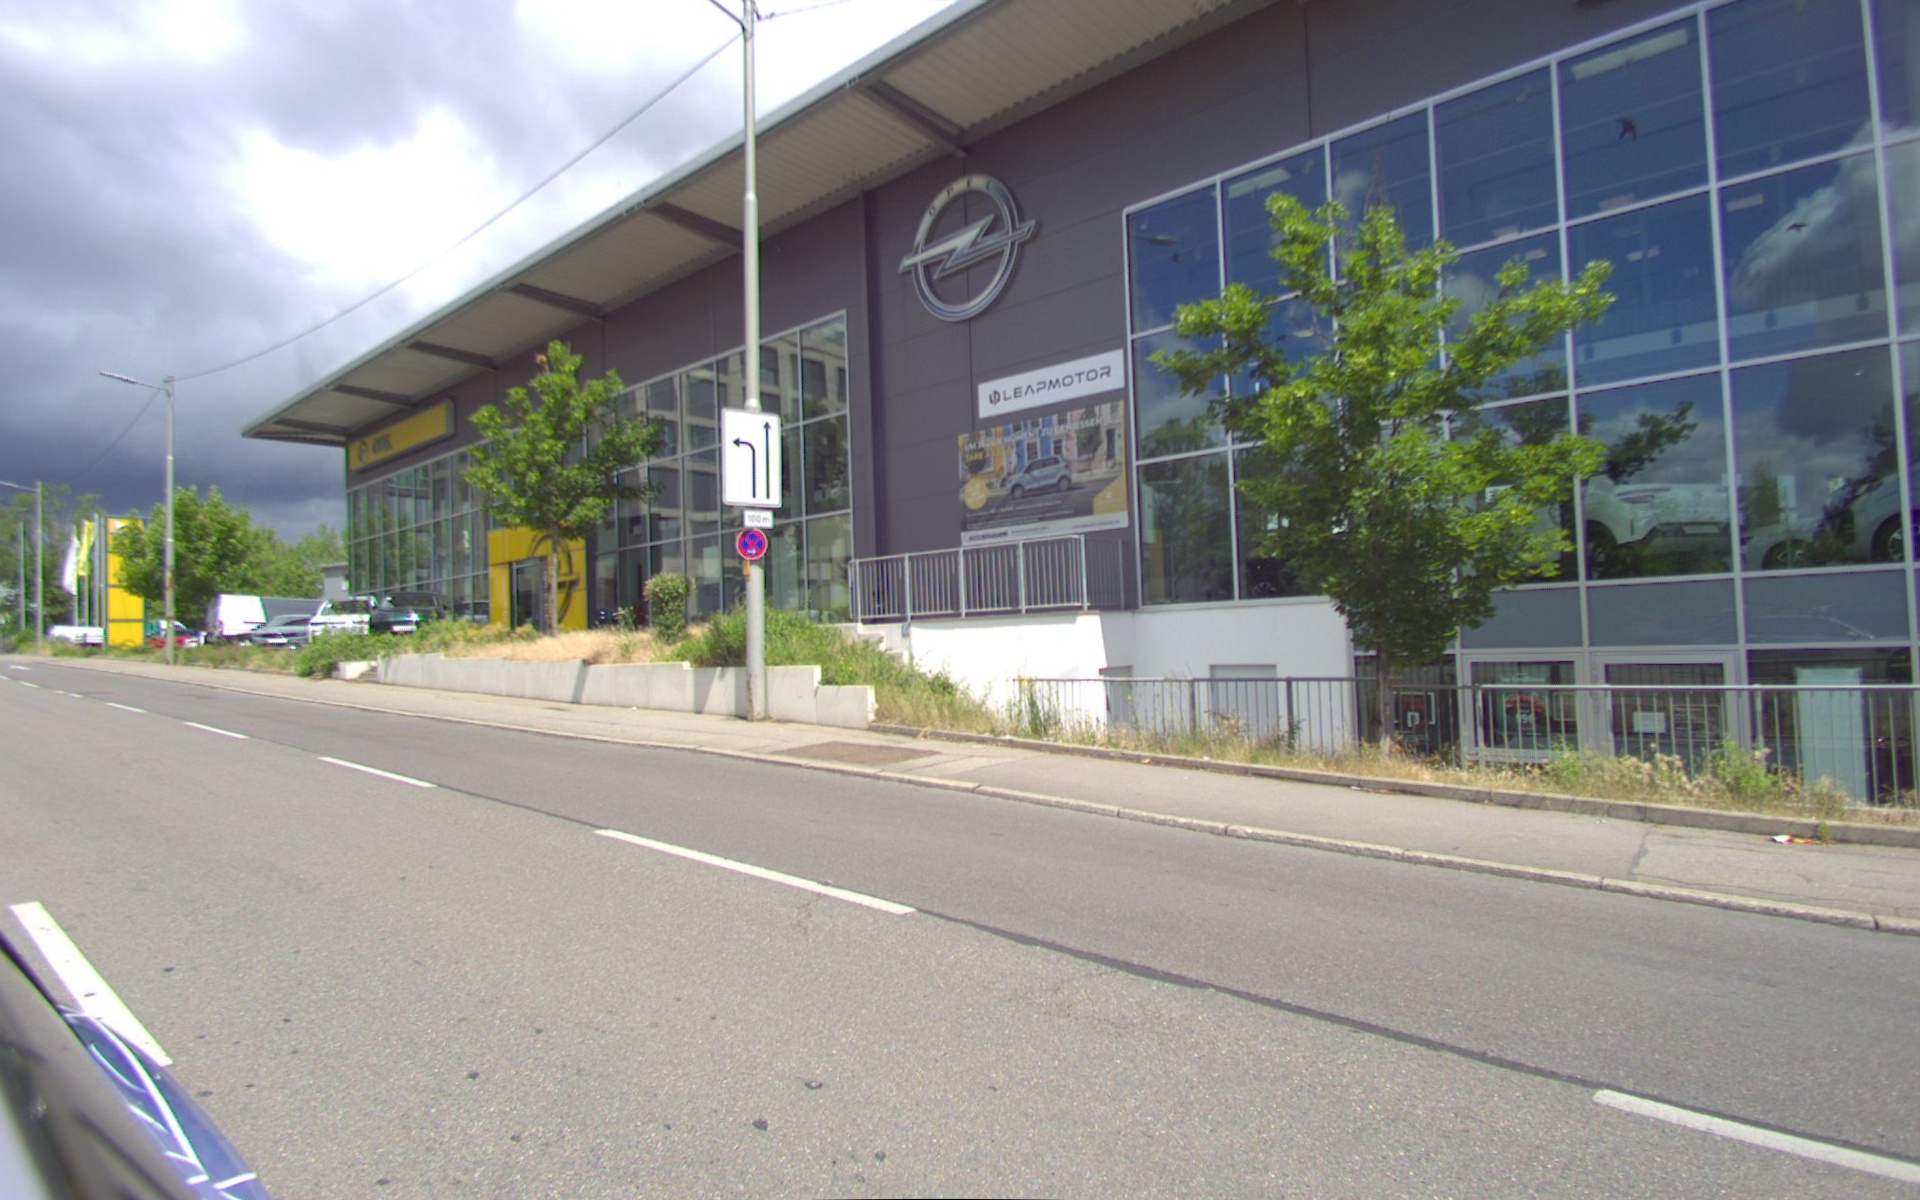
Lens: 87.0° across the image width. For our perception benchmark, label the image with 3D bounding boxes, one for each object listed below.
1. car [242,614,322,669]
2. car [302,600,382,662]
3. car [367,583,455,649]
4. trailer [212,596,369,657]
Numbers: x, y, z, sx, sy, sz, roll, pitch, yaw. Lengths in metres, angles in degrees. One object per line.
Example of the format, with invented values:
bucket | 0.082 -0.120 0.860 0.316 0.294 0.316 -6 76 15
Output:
car | -23.470 1.400 35.156 1.966 1.807 4.012 1 -1 -29
car | -19.205 0.941 31.594 1.966 1.807 4.012 1 -2 -29
car | -15.679 0.465 28.806 1.966 1.741 4.011 1 -2 -31
trailer | -27.417 1.078 41.609 1.998 2.367 5.011 -1 -2 39
